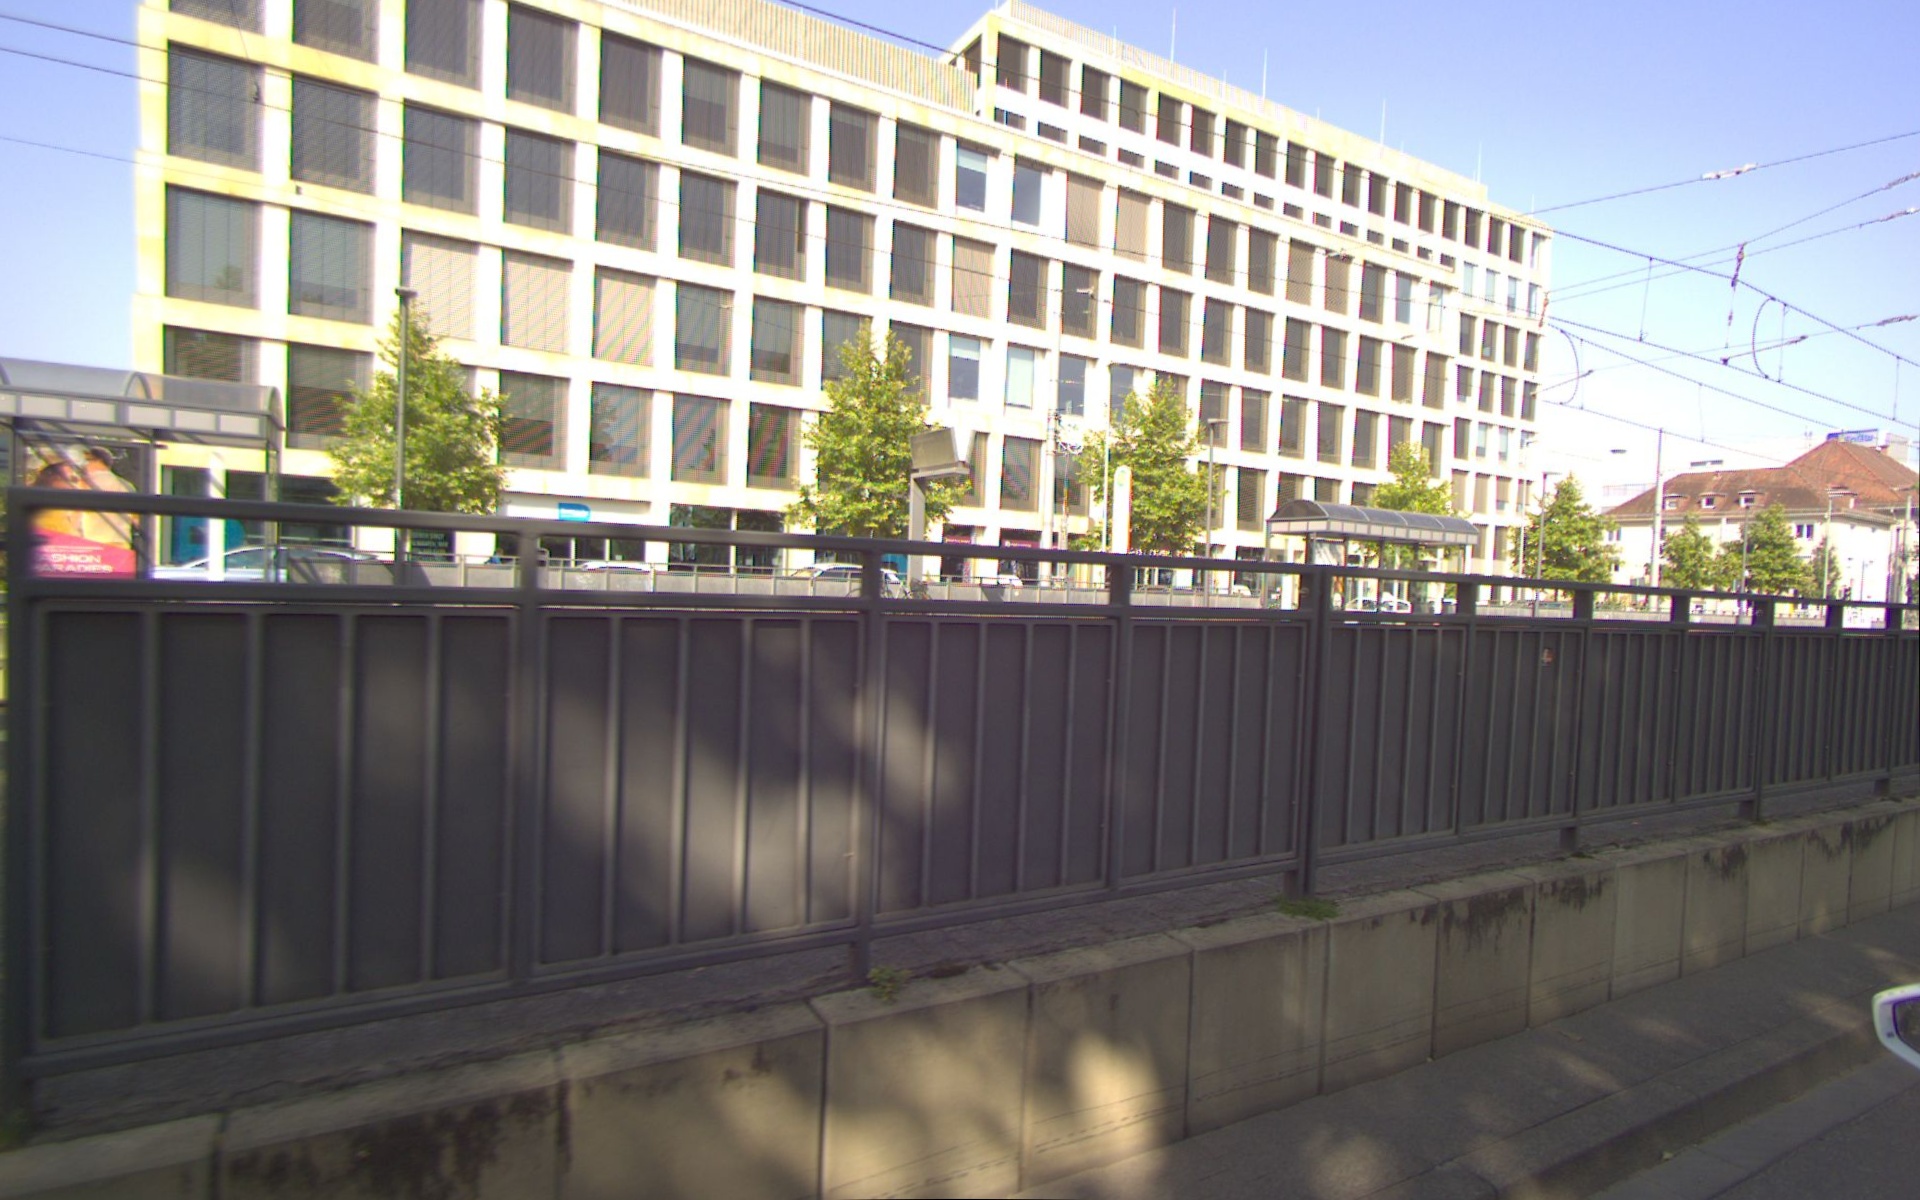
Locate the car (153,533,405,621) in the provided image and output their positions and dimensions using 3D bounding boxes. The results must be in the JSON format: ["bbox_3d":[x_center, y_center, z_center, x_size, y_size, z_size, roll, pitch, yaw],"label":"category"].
[{"bbox_3d":[-13.757,-0.423,20.587,4.086,1.595,1.754,2,0,-32],"label":"car"}]

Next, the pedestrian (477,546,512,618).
[{"bbox_3d":[-13.581,-0.499,29.308,0.813,2.040,0.560,2,-2,-30],"label":"pedestrian"}]

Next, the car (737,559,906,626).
[{"bbox_3d":[-3.671,-0.160,26.743,4.086,1.624,1.754,2,0,-32],"label":"car"}]

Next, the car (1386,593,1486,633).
[{"bbox_3d":[18.935,0.522,39.919,3.963,1.465,1.701,2,0,-32],"label":"car"}]

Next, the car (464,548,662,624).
[{"bbox_3d":[-9.289,-0.290,23.584,4.086,1.595,1.754,2,0,-32],"label":"car"}]

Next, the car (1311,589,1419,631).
[{"bbox_3d":[15.036,0.376,37.279,3.963,1.465,1.701,2,0,-32],"label":"car"}]

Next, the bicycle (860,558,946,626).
[{"bbox_3d":[-1.044,-0.150,18.330,1.459,1.163,0.471,2,2,-15],"label":"bicycle"}]
